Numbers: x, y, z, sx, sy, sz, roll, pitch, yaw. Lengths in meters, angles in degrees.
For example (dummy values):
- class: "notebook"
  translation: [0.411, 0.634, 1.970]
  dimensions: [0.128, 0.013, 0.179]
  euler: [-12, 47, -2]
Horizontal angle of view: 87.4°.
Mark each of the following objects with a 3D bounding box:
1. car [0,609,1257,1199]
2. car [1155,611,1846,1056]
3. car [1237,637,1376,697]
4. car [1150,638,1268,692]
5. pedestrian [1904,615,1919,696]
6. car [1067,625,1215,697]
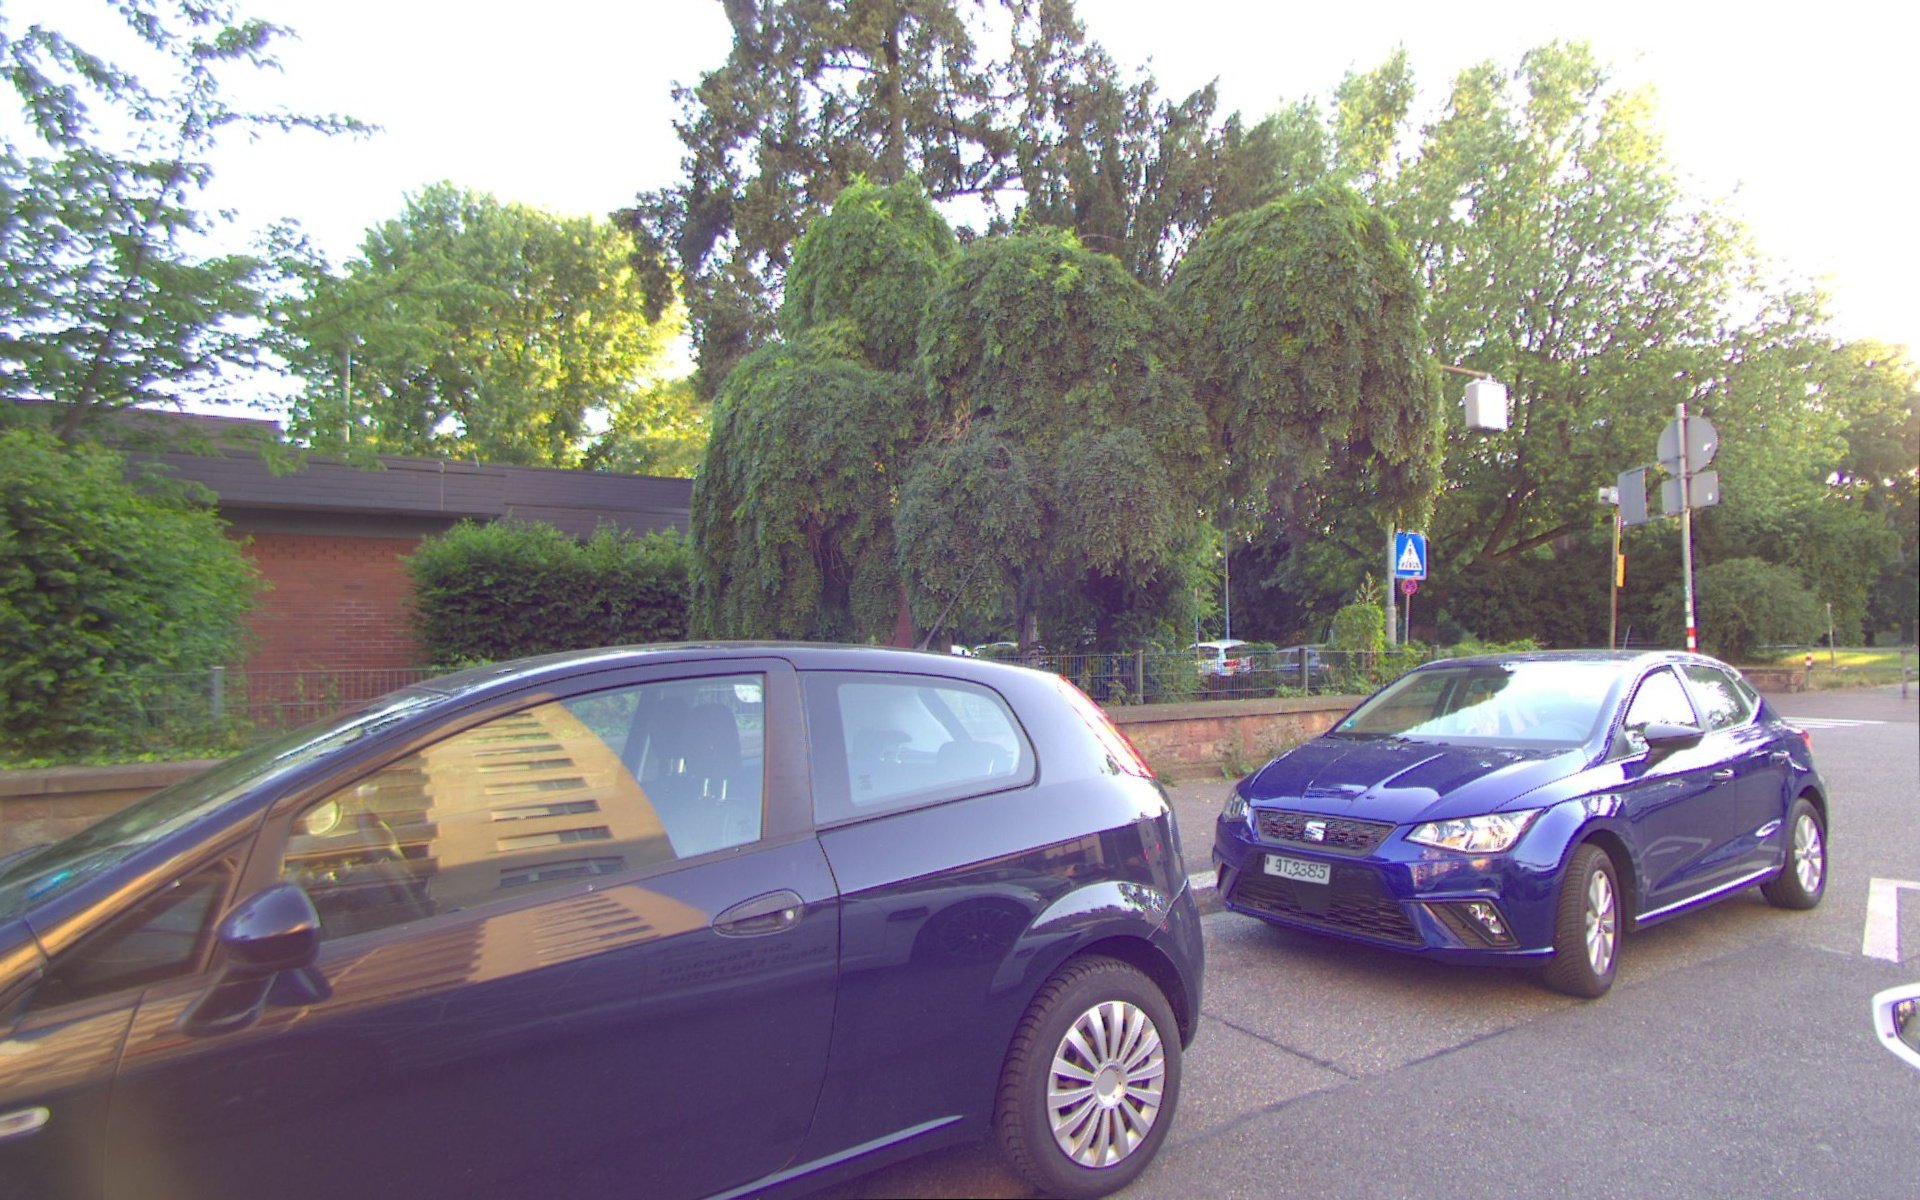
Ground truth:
- class: "car"
  translation: [-1.132, 0.872, 2.647]
  dimensions: [3.659, 1.587, 1.723]
  euler: [1, -4, -34]
- class: "car"
  translation: [3.021, 0.916, 5.414]
  dimensions: [3.752, 1.587, 1.723]
  euler: [1, -4, -35]
- class: "car"
  translation: [10.543, 2.019, 30.831]
  dimensions: [1.798, 1.511, 3.843]
  euler: [-6, 0, -24]
- class: "car"
  translation: [8.657, 2.259, 35.203]
  dimensions: [1.800, 1.583, 3.856]
  euler: [-6, 0, -27]
- class: "pedestrian"
  translation: [20.231, 1.154, 20.860]
  dimensions: [0.660, 1.671, 0.649]
  euler: [0, 0, 13]
- class: "car"
  translation: [4.927, 1.720, 27.932]
  dimensions: [1.801, 1.821, 4.212]
  euler: [4, -5, -28]
